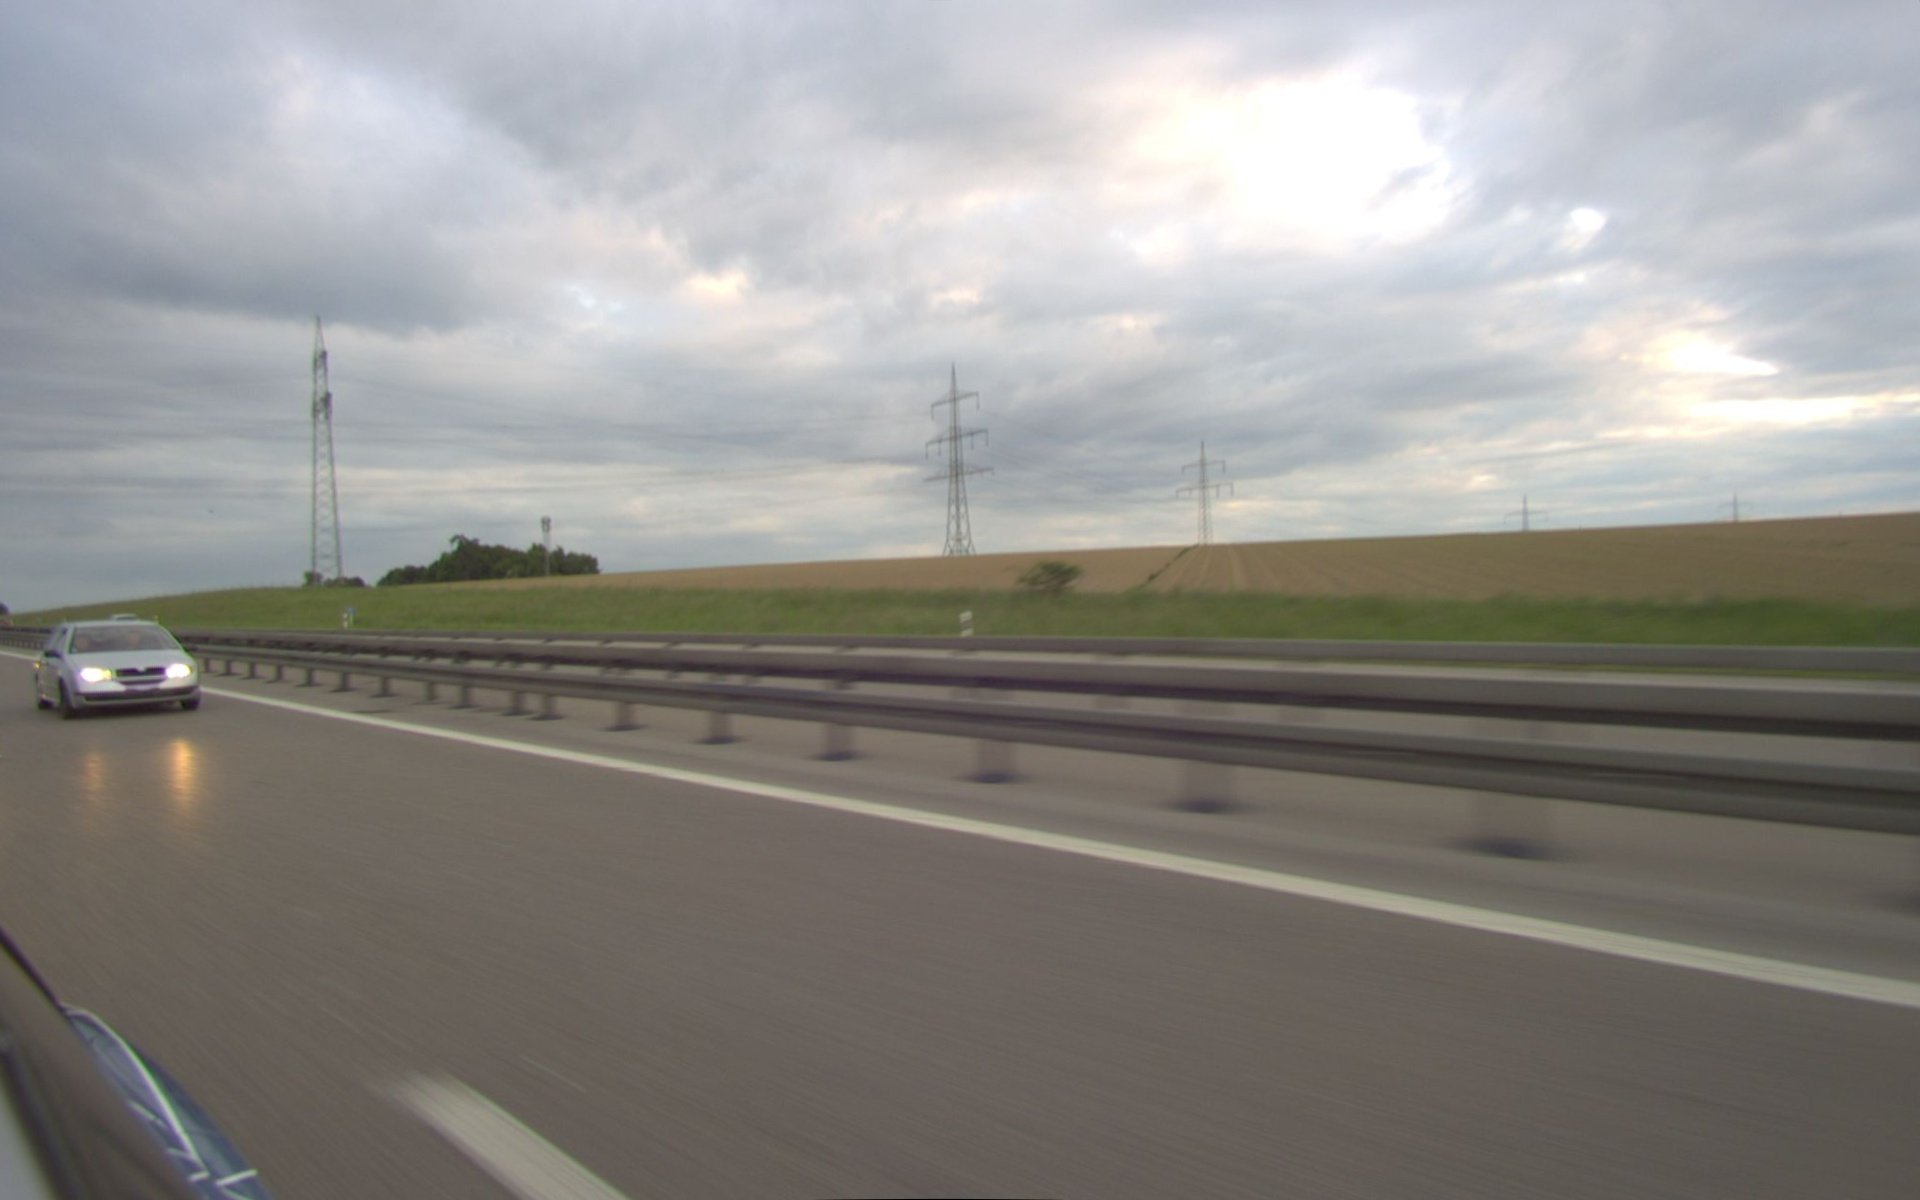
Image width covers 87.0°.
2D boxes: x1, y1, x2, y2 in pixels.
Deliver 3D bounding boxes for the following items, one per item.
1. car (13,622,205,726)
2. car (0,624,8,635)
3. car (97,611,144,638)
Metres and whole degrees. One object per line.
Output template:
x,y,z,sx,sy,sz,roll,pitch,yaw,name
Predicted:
-13.533,1.068,15.993,4.598,1.400,1.572,-1,-1,40,car
-123.463,3.811,129.672,4.008,1.370,1.657,-2,3,41,car
-58.692,1.743,70.705,4.587,1.712,1.772,-2,1,41,car
